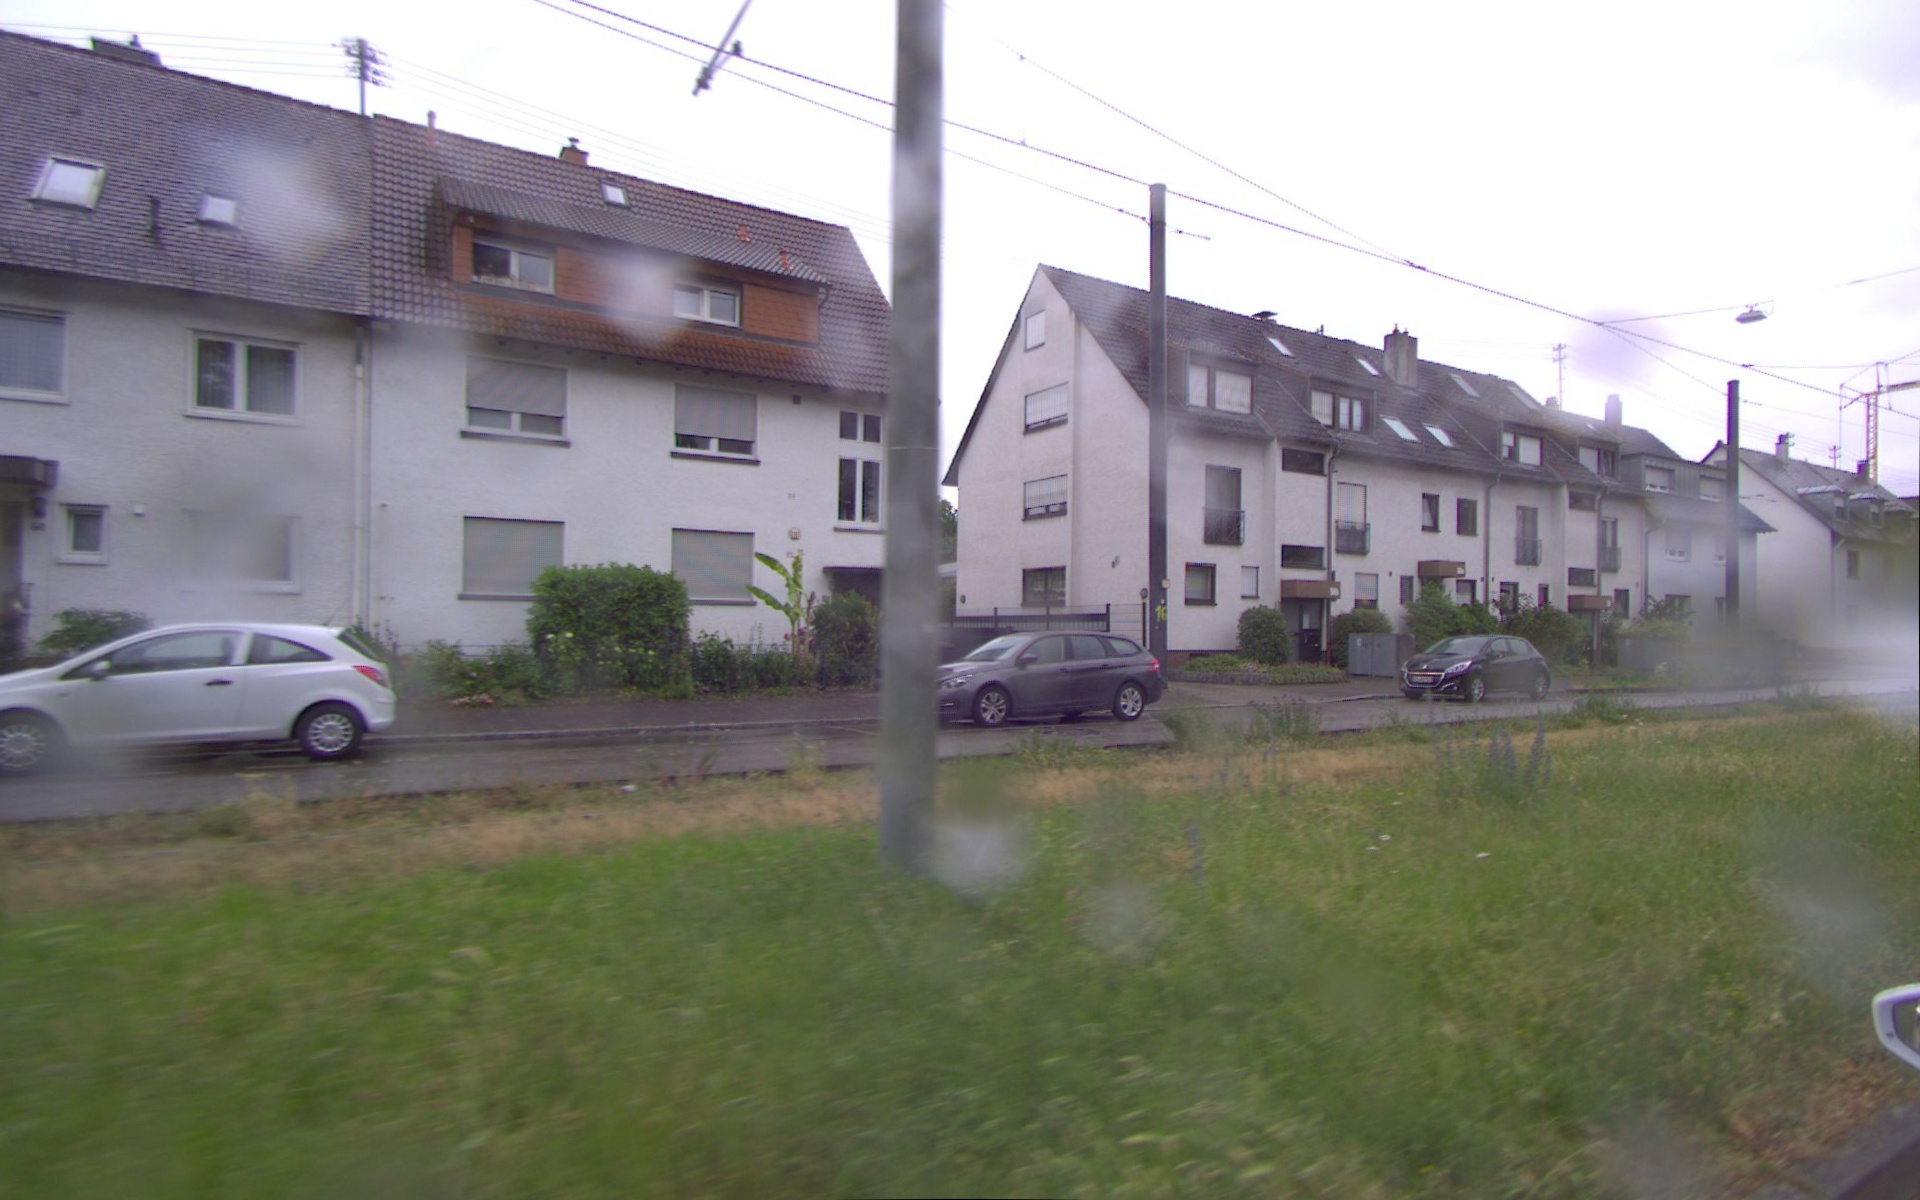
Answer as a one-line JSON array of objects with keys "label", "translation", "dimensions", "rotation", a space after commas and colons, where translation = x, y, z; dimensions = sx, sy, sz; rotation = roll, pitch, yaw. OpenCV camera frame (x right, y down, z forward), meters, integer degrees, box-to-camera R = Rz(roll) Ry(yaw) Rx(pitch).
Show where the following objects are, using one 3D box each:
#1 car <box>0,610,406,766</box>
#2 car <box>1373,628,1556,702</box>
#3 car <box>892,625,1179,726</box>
[{"label": "car", "translation": [-8.197, 0.913, 10.726], "dimensions": [3.899, 1.442, 1.593], "rotation": [4, -3, -31]}, {"label": "car", "translation": [11.571, 1.497, 22.971], "dimensions": [4.088, 1.523, 1.867], "rotation": [4, -3, -32]}, {"label": "car", "translation": [1.310, 1.247, 16.477], "dimensions": [4.614, 1.442, 1.593], "rotation": [4, -3, -31]}]
